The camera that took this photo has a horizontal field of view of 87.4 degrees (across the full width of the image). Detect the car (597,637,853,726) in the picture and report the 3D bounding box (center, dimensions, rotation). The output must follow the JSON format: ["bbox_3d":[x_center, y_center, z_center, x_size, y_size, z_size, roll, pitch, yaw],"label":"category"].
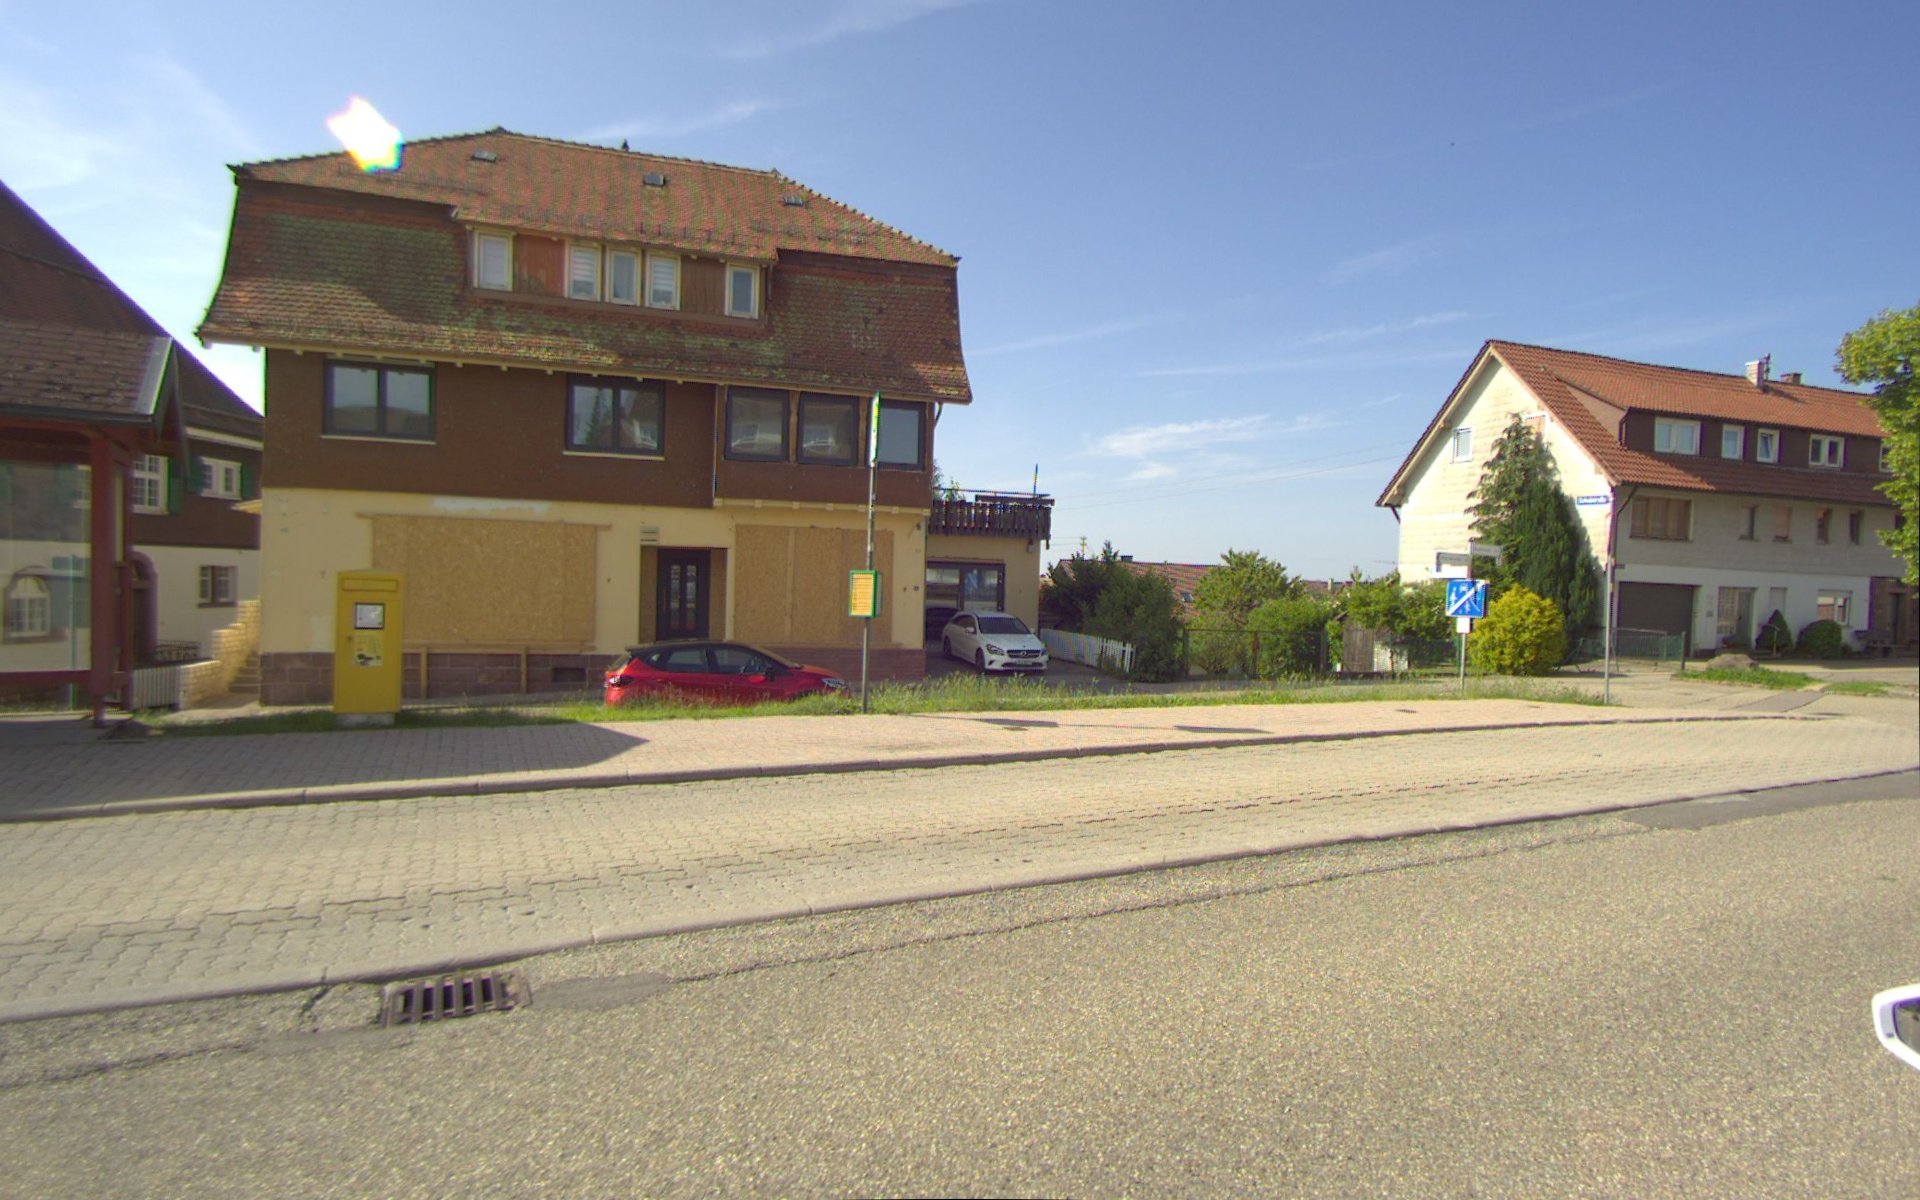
[{"bbox_3d":[-3.873,1.298,16.689,3.935,1.314,1.720,1,-1,-17],"label":"car"}]

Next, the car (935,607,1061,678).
[{"bbox_3d":[0.912,1.078,26.764,1.773,1.531,4.294,3,1,-21],"label":"car"}]
